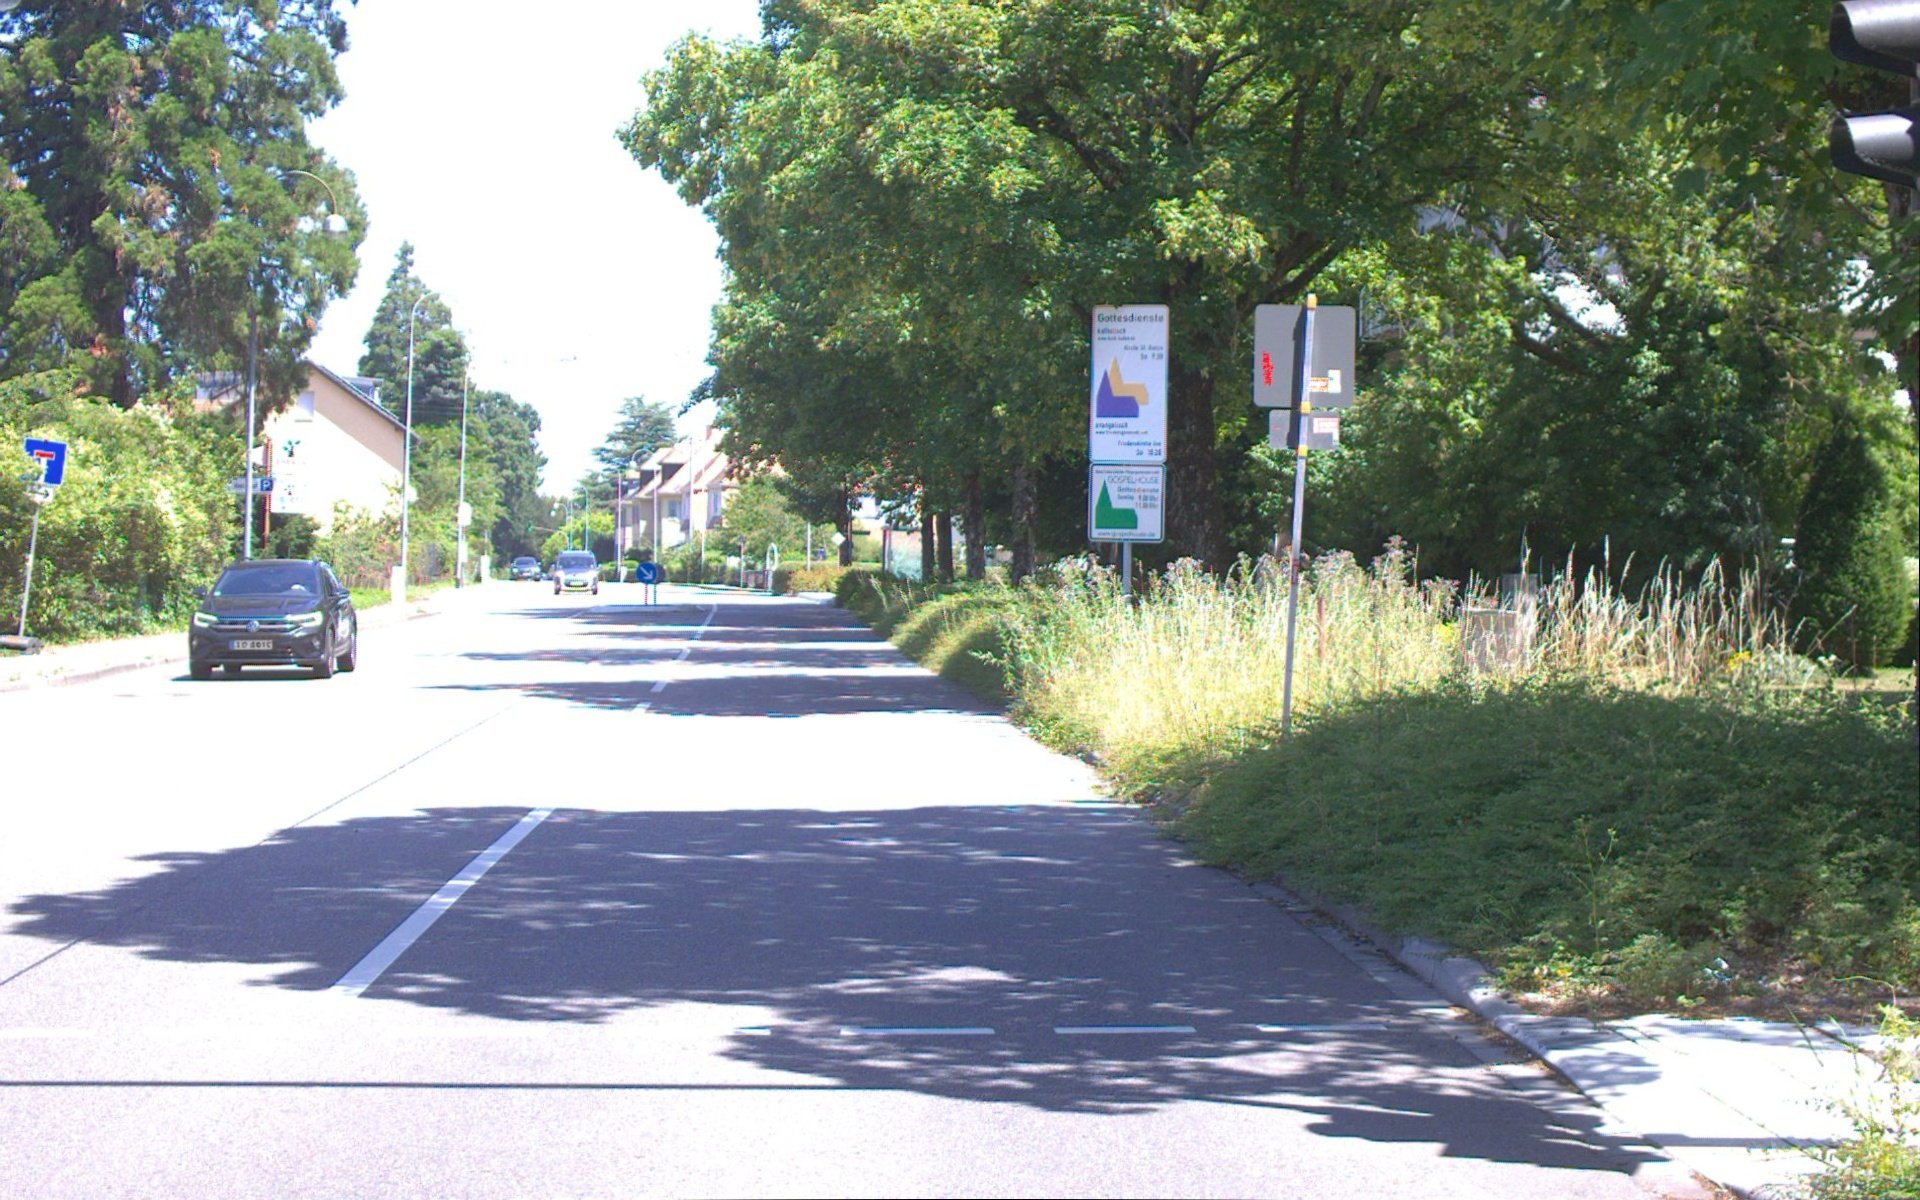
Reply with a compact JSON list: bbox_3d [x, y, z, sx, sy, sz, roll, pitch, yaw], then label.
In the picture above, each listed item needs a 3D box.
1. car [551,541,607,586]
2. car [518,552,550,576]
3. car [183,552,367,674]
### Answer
[{"bbox_3d":[-15.421,-1.499,139.417,1.811,1.756,4.570,2,1,-1],"label":"car"},{"bbox_3d":[-27.554,-2.310,222.421,1.822,1.546,4.001,0,1,-4],"label":"car"},{"bbox_3d":[-8.775,0.136,44.315,1.869,1.501,4.053,0,1,-5],"label":"car"}]
